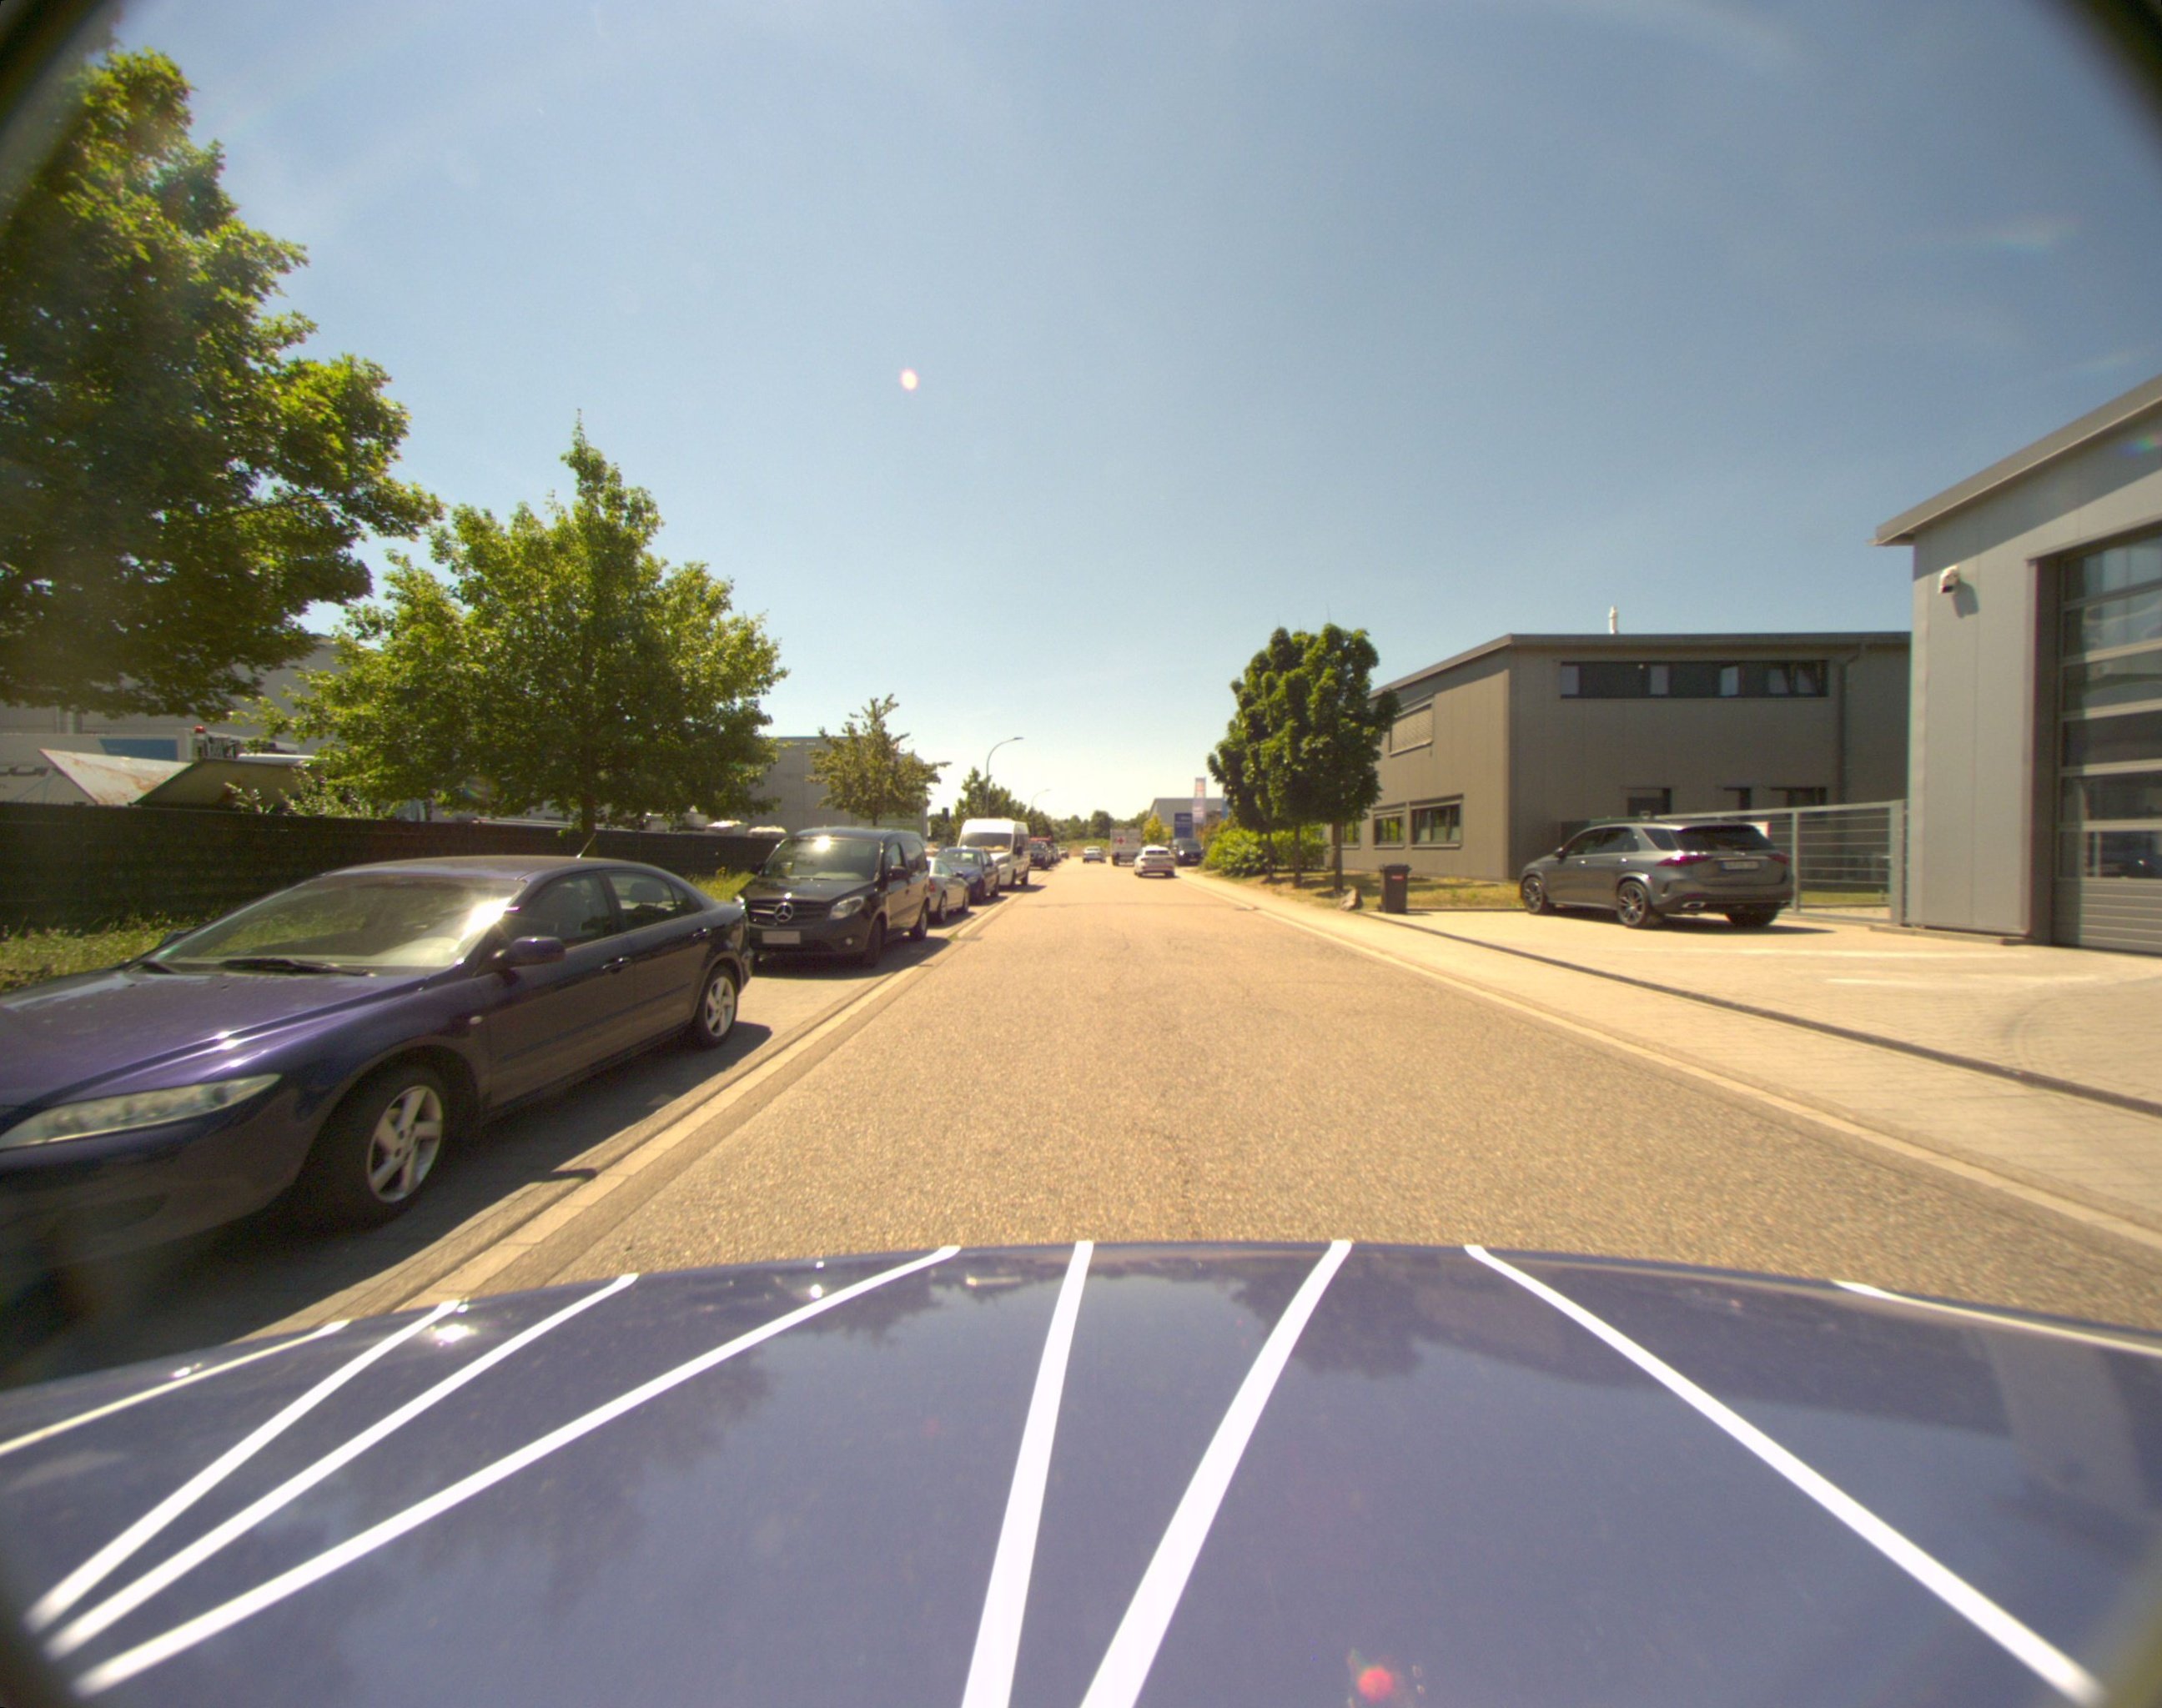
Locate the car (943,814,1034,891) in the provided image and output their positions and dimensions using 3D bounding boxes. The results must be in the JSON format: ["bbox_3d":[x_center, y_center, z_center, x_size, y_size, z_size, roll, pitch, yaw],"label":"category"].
[{"bbox_3d":[-3.187,-0.067,27.702,2.273,2.483,6.152,1,1,2],"label":"car"}]

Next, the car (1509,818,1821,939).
[{"bbox_3d":[9.877,0.377,13.522,1.998,1.725,4.914,-2,0,4],"label":"car"}]

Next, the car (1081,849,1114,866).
[{"bbox_3d":[1.491,0.268,66.653,1.785,1.414,4.419,1,1,16],"label":"car"}]

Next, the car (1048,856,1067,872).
[{"bbox_3d":[-2.343,0.983,75.125,1.718,1.474,4.772,2,0,-2],"label":"car"}]

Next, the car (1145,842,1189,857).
[{"bbox_3d":[8.700,-0.442,77.002,4.273,1.509,1.866,0,1,-1],"label":"car"}]

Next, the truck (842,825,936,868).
[{"bbox_3d":[-13.173,-0.530,52.401,5.836,2.896,2.414,0,1,0],"label":"truck"}]

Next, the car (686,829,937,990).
[{"bbox_3d":[-3.452,0.597,10.770,1.998,1.815,4.353,0,1,0],"label":"car"}]

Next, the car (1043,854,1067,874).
[{"bbox_3d":[-2.342,0.857,69.560,1.815,1.715,4.774,2,0,1],"label":"car"}]

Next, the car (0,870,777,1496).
[{"bbox_3d":[-3.612,0.885,4.278,1.855,1.423,4.712,0,1,1],"label":"car"}]

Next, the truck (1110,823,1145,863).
[{"bbox_3d":[3.543,-0.853,59.193,2.367,2.843,6.414,2,1,1],"label":"truck"}]

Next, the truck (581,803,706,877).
[{"bbox_3d":[-23.529,-0.743,41.063,5.075,3.853,2.803,0,2,1],"label":"truck"}]

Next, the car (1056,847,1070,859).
[{"bbox_3d":[-2.450,-0.158,104.712,1.809,1.626,4.458,2,0,0],"label":"car"}]

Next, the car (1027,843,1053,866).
[{"bbox_3d":[-2.939,0.028,55.085,1.743,1.522,3.999,2,1,-1],"label":"car"}]

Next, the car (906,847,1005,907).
[{"bbox_3d":[-3.345,0.567,21.170,1.833,1.485,4.478,1,0,2],"label":"car"}]

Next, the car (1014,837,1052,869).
[{"bbox_3d":[-2.984,-0.083,48.122,1.998,1.874,5.155,1,1,1],"label":"car"}]

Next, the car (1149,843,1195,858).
[{"bbox_3d":[8.843,-0.372,74.255,4.319,1.423,1.846,0,1,2],"label":"car"}]

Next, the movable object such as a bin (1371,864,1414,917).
[{"bbox_3d":[6.598,0.763,16.112,0.580,1.059,0.765,-2,1,0],"label":"movable object such as a bin"}]

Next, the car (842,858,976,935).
[{"bbox_3d":[-3.404,0.780,15.821,1.715,1.280,4.115,0,1,2],"label":"car"}]

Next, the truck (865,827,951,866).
[{"bbox_3d":[-12.848,-0.544,56.670,5.918,2.855,2.305,0,1,-2],"label":"truck"}]

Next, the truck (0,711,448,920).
[{"bbox_3d":[-19.486,-0.704,15.411,10.012,3.800,3.034,1,1,-10],"label":"truck"}]

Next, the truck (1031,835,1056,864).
[{"bbox_3d":[-2.920,-0.342,59.548,1.683,2.169,4.389,2,1,0],"label":"truck"}]

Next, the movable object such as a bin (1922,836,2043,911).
[{"bbox_3d":[17.986,0.376,15.199,1.025,1.407,1.149,-2,0,-2],"label":"movable object such as a bin"}]

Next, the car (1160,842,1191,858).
[{"bbox_3d":[8.970,-0.381,72.129,2.748,1.509,1.535,0,1,-1],"label":"car"}]

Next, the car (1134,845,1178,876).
[{"bbox_3d":[3.659,0.271,37.700,1.734,1.450,4.491,-1,1,0],"label":"car"}]

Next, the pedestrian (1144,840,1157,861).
[{"bbox_3d":[5.392,-0.268,58.955,0.901,1.565,0.785,-2,1,1],"label":"pedestrian"}]

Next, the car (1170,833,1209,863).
[{"bbox_3d":[7.531,-0.421,53.198,1.998,1.945,5.217,-1,1,0],"label":"car"}]
